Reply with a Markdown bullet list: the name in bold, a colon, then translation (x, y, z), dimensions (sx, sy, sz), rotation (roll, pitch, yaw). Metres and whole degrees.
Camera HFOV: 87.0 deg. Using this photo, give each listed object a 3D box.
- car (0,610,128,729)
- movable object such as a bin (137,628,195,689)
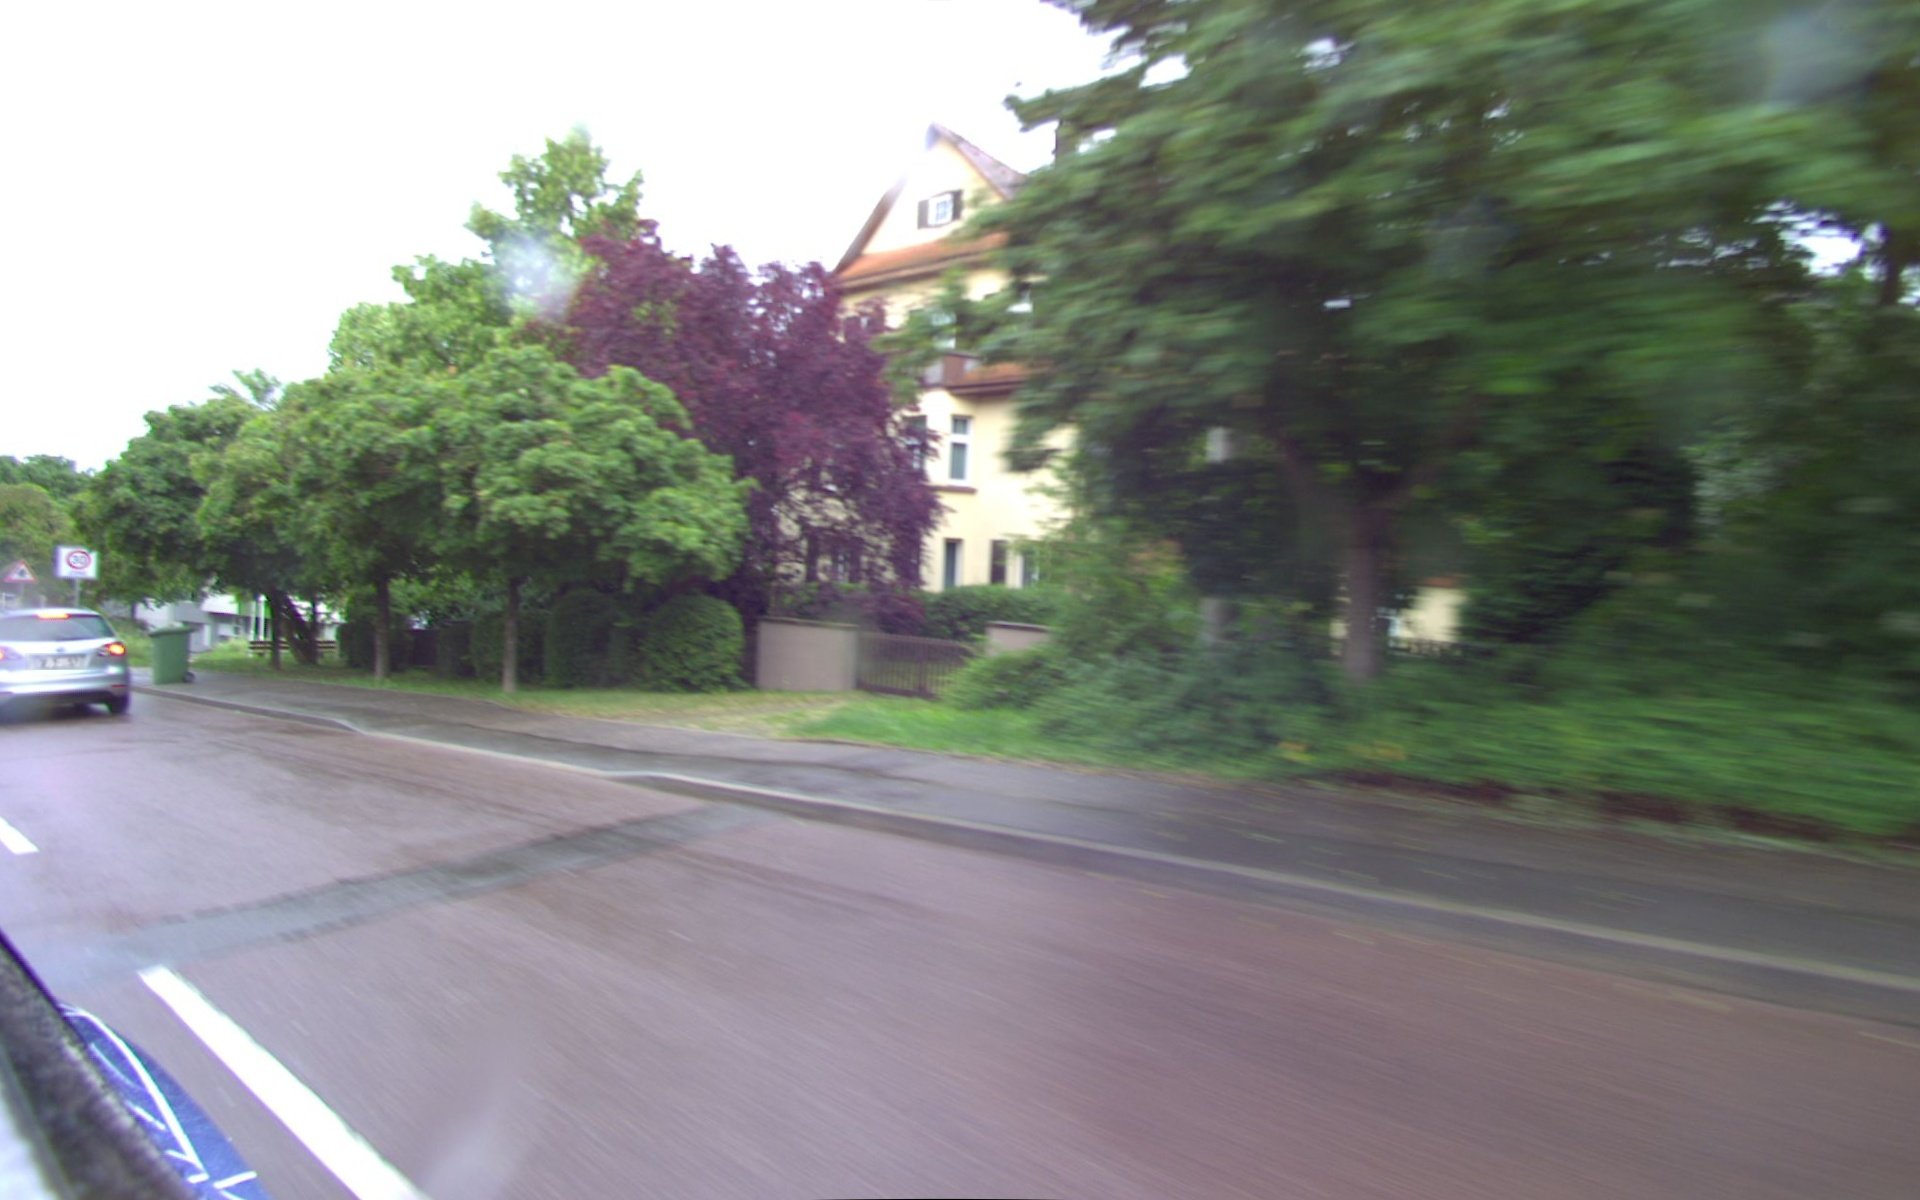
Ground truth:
- **car**: translation (-14.045, 0.963, 15.082), dimensions (3.824, 1.565, 1.787), rotation (-1, -1, 38)
- **movable object such as a bin**: translation (-15.168, 1.107, 19.332), dimensions (0.757, 1.108, 0.713), rotation (-1, 0, 40)
